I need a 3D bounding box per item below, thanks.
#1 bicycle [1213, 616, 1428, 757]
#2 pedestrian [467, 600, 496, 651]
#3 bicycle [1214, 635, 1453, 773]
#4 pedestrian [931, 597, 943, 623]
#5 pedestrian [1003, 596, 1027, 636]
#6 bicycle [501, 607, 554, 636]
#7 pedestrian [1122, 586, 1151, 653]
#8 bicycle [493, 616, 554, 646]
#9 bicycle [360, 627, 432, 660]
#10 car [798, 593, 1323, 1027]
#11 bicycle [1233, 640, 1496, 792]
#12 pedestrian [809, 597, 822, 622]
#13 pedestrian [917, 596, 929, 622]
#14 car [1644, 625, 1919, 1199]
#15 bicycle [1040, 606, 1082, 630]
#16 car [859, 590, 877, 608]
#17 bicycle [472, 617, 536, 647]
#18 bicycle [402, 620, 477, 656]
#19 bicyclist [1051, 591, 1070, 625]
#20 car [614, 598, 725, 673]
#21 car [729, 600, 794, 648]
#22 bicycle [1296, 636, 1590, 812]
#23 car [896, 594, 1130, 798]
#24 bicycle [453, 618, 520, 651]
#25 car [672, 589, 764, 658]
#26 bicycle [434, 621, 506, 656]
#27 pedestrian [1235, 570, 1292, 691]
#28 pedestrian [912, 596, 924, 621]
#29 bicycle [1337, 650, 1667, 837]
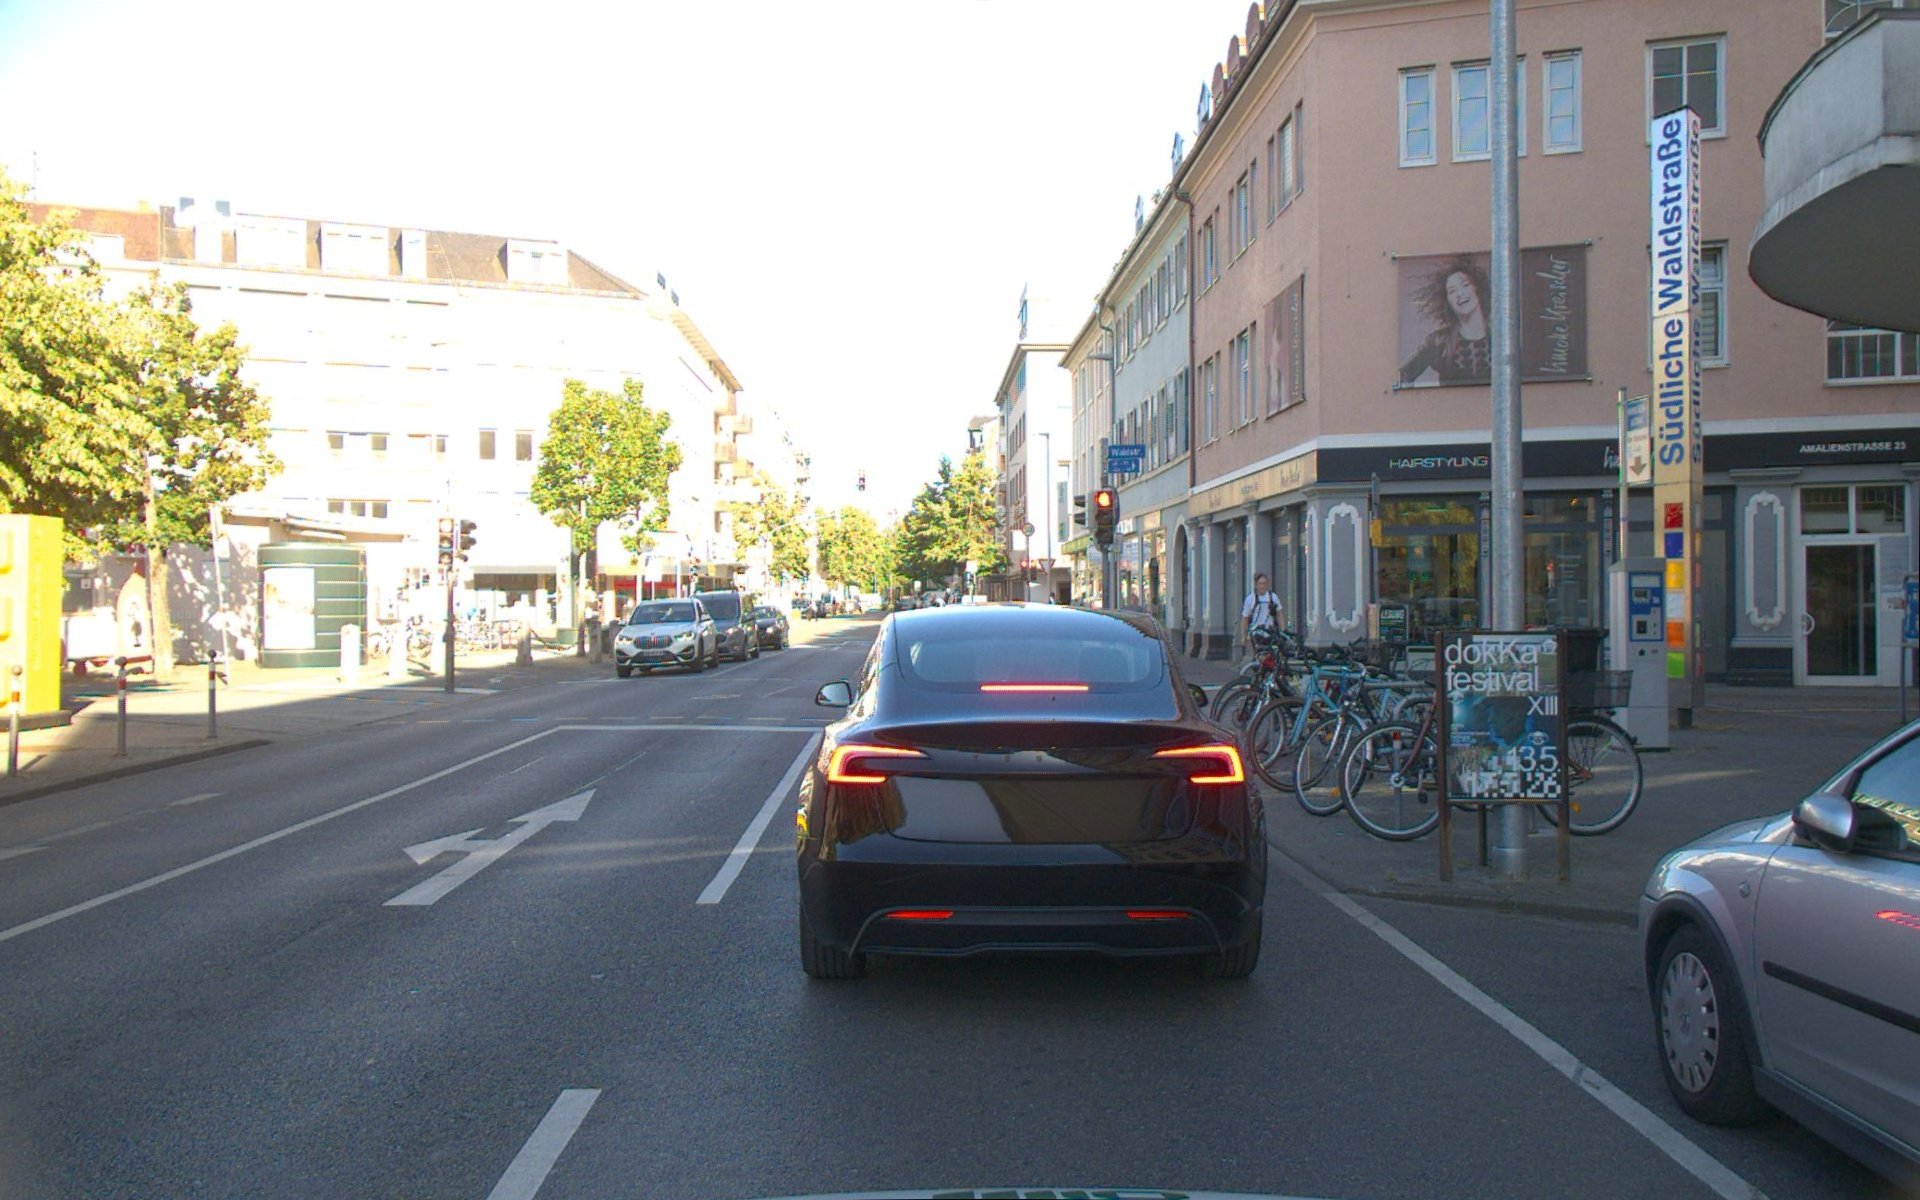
[{"bbox_3d":[3.202,0.766,14.784,1.789,1.189,0.506,-2,-1,5],"label":"bicycle"},{"bbox_3d":[-19.496,1.040,67.353,1.041,2.049,1.049,1,-1,-20],"label":"pedestrian"},{"bbox_3d":[3.059,0.848,13.662,1.833,1.056,0.548,-2,-1,5],"label":"bicycle"},{"bbox_3d":[-1.292,0.562,94.219,0.516,1.447,0.474,1,-1,-31],"label":"pedestrian"},{"bbox_3d":[2.301,0.675,69.191,0.742,1.660,0.951,1,-1,-18],"label":"pedestrian"},{"bbox_3d":[-20.274,1.023,77.580,2.334,1.318,0.509,1,-1,-27],"label":"bicycle"},{"bbox_3d":[4.712,0.525,44.112,0.692,1.773,0.540,0,0,-1],"label":"pedestrian"},{"bbox_3d":[-14.368,1.018,54.464,1.826,0.950,0.606,0,0,-2],"label":"bicycle"},{"bbox_3d":[-14.450,1.111,42.391,1.612,0.806,0.606,1,0,-5],"label":"bicycle"},{"bbox_3d":[0.317,0.721,7.620,1.785,1.467,3.999,0,0,-1],"label":"car"},{"bbox_3d":[3.026,0.863,12.487,1.834,1.056,0.533,-2,-1,3],"label":"bicycle"},{"bbox_3d":[-9.869,0.639,113.162,0.831,1.725,0.717,0,0,-4],"label":"pedestrian"},{"bbox_3d":[-2.100,0.494,93.461,0.516,1.447,0.474,1,-1,-31],"label":"pedestrian"},{"bbox_3d":[2.921,0.782,3.500,1.515,1.415,3.476,0,0,0],"label":"car"},{"bbox_3d":[4.355,0.779,71.206,1.756,1.024,0.469,1,-1,-17],"label":"bicycle"},{"bbox_3d":[-10.401,-0.143,186.978,1.953,2.049,3.999,0,0,-1],"label":"car"},{"bbox_3d":[-14.332,1.008,52.016,1.826,0.950,0.606,0,0,-2],"label":"bicycle"},{"bbox_3d":[-14.143,1.032,44.975,1.826,0.950,0.606,1,0,-2],"label":"bicycle"},{"bbox_3d":[4.325,0.347,71.194,0.659,1.420,0.460,1,-1,-17],"label":"bicyclist"},{"bbox_3d":[-6.274,0.740,36.081,1.752,1.485,3.756,-2,0,-1],"label":"car"},{"bbox_3d":[-6.440,0.770,53.945,1.680,1.471,3.844,1,0,-1],"label":"car"},{"bbox_3d":[3.244,0.827,11.191,1.834,1.106,0.414,-2,-1,3],"label":"bicycle"},{"bbox_3d":[0.314,0.686,13.792,1.683,1.450,3.755,0,0,-2],"label":"car"},{"bbox_3d":[-14.198,1.033,49.623,1.826,0.950,0.606,1,0,-2],"label":"bicycle"},{"bbox_3d":[-6.178,0.585,42.658,1.751,1.675,4.401,1,0,-1],"label":"car"},{"bbox_3d":[-13.962,1.087,47.153,1.826,0.950,0.606,1,0,-2],"label":"bicycle"},{"bbox_3d":[4.624,0.458,25.215,0.735,1.796,0.837,1,-1,3],"label":"pedestrian"},{"bbox_3d":[-2.376,0.497,94.289,0.467,1.442,0.516,1,-1,-32],"label":"pedestrian"},{"bbox_3d":[3.260,0.864,10.028,1.833,1.056,0.353,-2,-1,6],"label":"bicycle"}]
